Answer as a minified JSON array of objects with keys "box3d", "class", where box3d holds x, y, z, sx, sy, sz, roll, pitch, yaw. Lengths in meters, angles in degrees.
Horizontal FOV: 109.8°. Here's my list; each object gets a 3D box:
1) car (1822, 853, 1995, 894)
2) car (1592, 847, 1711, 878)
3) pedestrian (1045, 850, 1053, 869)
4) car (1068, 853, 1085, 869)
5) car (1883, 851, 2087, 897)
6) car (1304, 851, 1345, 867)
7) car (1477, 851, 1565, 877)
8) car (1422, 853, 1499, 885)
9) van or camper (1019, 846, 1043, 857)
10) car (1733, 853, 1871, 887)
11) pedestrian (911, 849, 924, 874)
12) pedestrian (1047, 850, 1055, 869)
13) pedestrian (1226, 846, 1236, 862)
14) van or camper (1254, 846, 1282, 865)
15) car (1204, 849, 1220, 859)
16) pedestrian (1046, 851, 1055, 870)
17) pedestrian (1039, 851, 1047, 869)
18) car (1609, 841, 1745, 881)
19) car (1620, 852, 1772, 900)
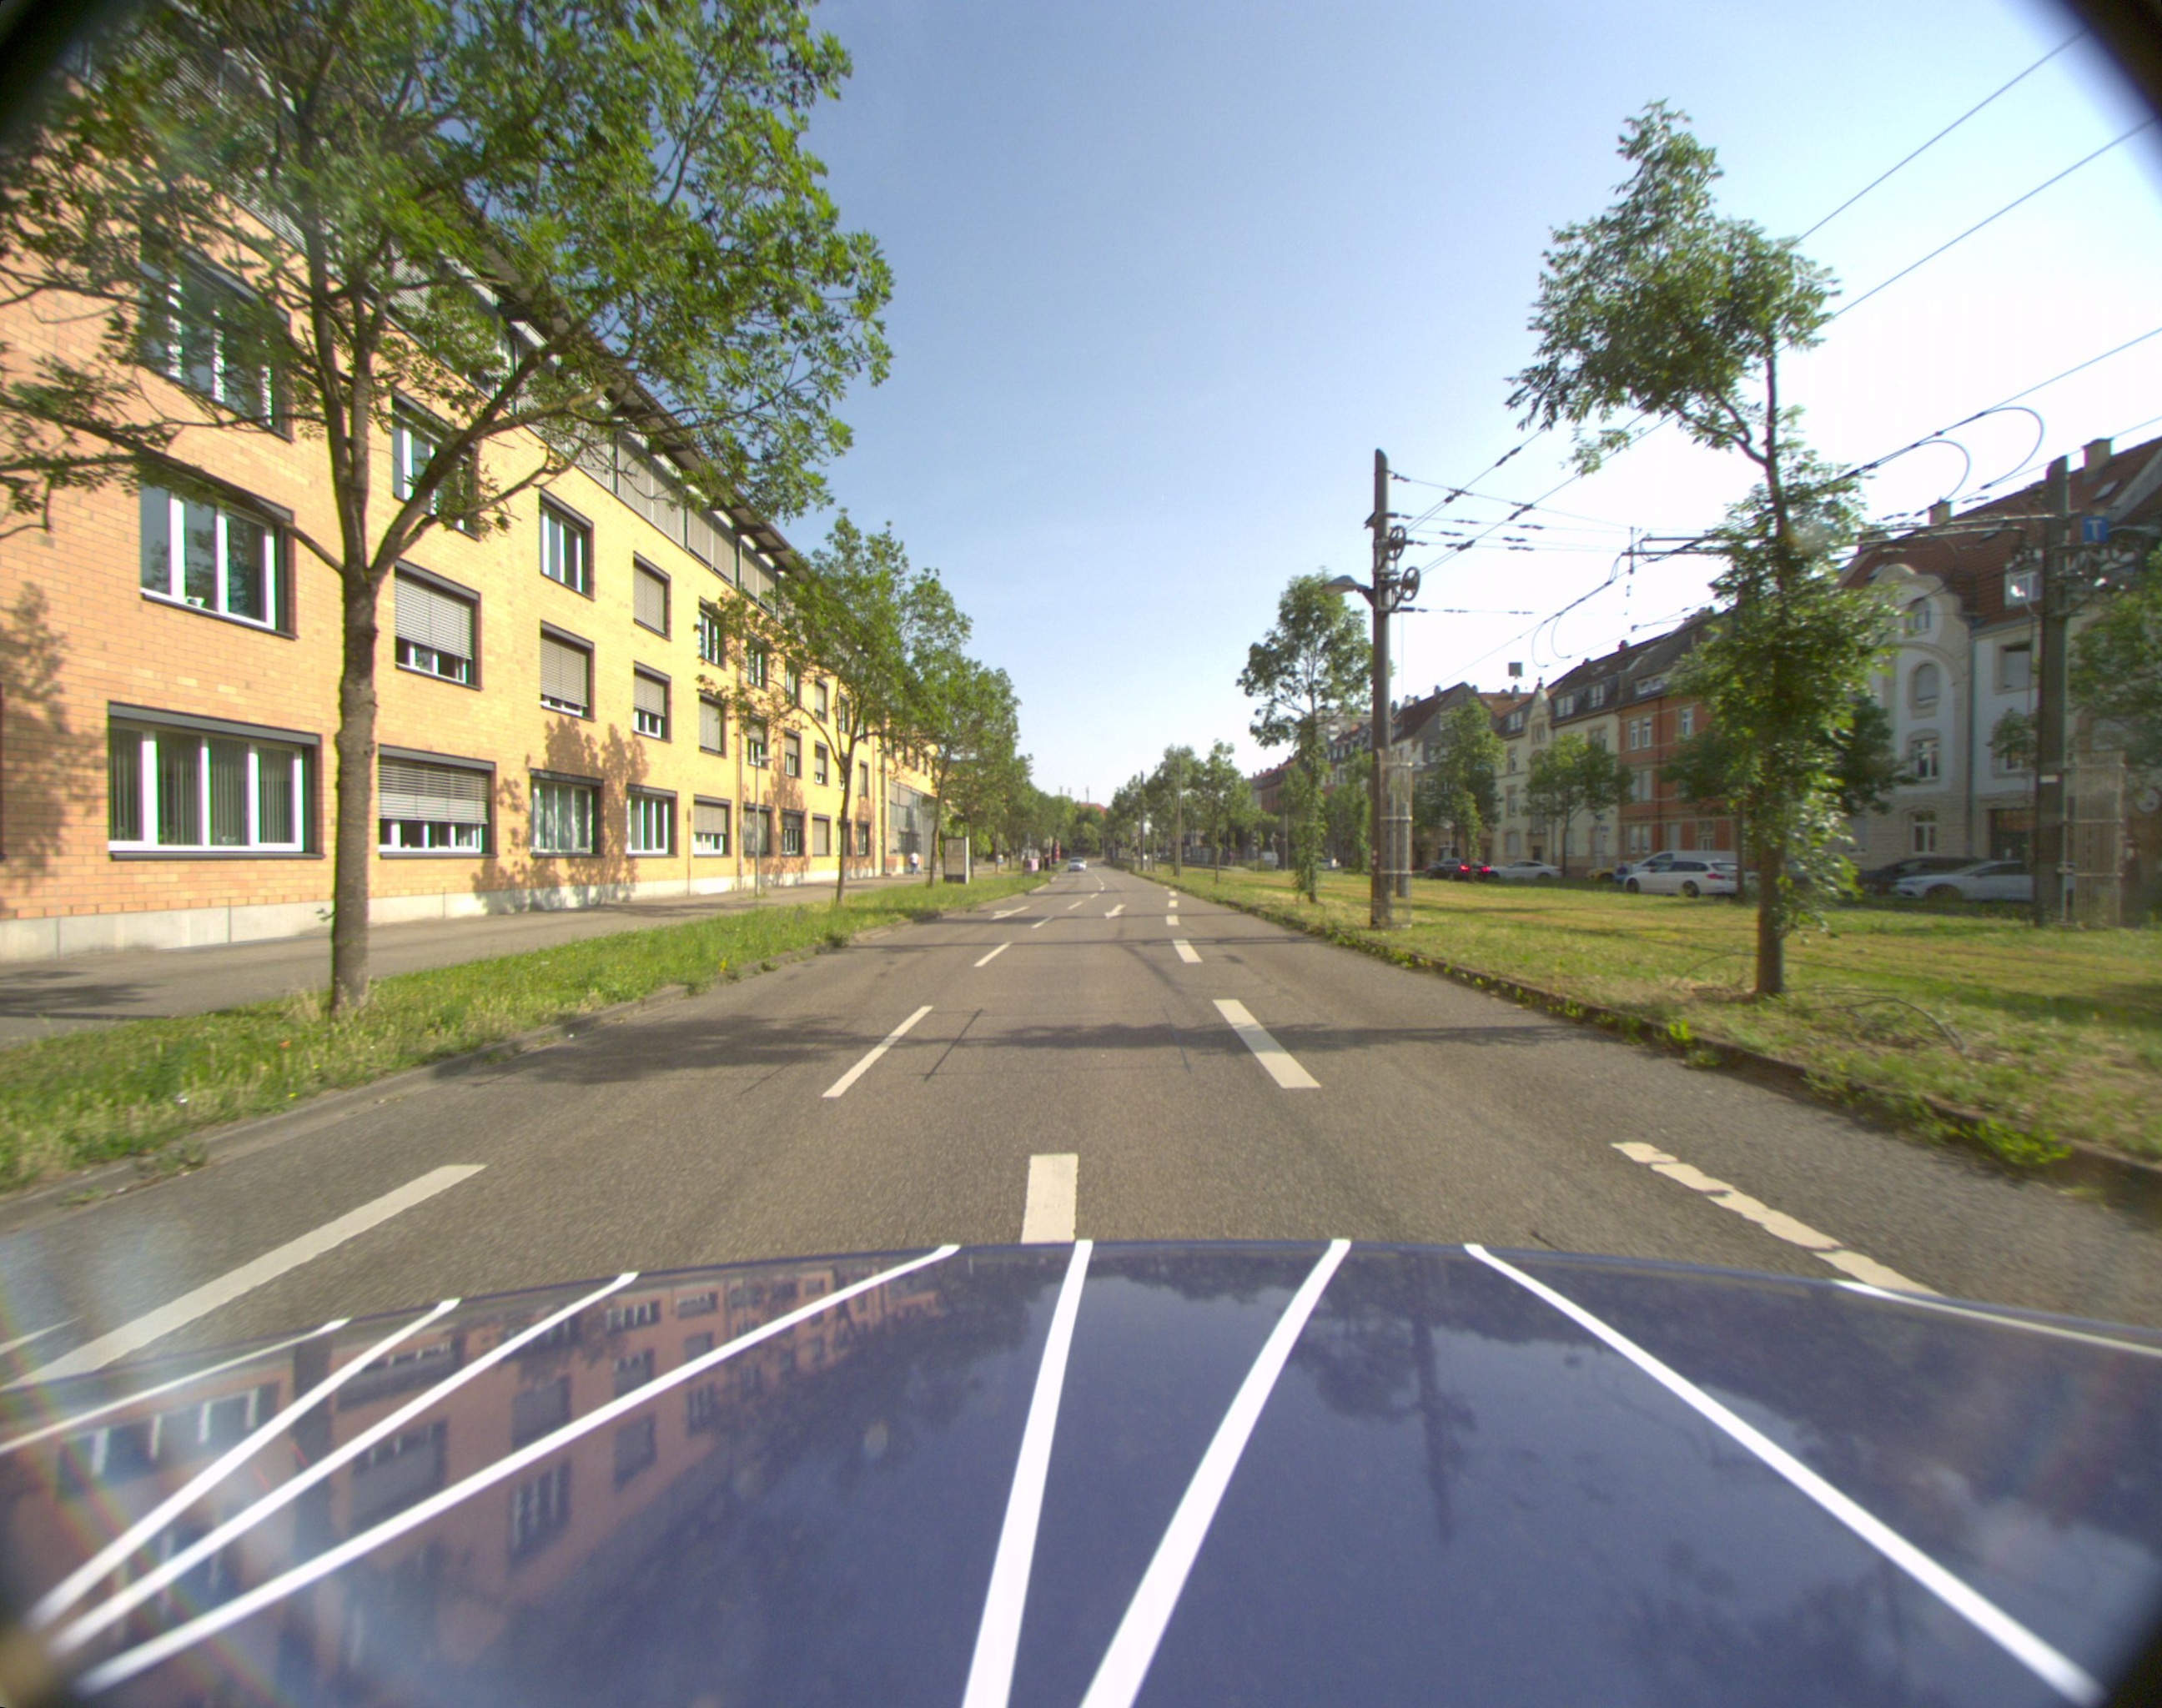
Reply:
[{"box3d":[27.952,0.660,25.827,3.677,1.234,1.665,-2,2,34],"class":"car"},{"box3d":[28.787,0.435,38.529,4.687,1.341,1.860,-2,1,34],"class":"car"},{"box3d":[-2.775,0.518,66.273,0.636,1.637,0.608,1,1,-4],"class":"pedestrian"},{"box3d":[-0.472,0.679,76.355,1.629,1.476,3.365,-3,1,-2],"class":"car"},{"box3d":[27.336,0.606,23.159,3.677,1.234,1.665,-2,1,34],"class":"car"},{"box3d":[27.860,0.589,86.988,3.989,1.716,2.003,-2,1,34],"class":"car"},{"box3d":[28.254,0.648,48.814,4.765,1.477,2.026,-2,1,32],"class":"car"},{"box3d":[22.748,0.830,45.764,1.998,1.621,5.379,-3,1,1],"class":"car"},{"box3d":[-12.836,-0.676,194.903,5.801,2.678,2.407,-2,1,-3],"class":"van or camper"},{"box3d":[27.882,0.633,29.535,3.677,1.234,1.529,-2,-1,34],"class":"car"},{"box3d":[-11.216,0.515,52.106,0.697,1.647,0.773,1,1,0],"class":"pedestrian"},{"box3d":[-2.667,0.497,67.226,0.707,1.637,0.689,1,1,-2],"class":"pedestrian"},{"box3d":[16.079,-0.004,81.452,0.886,1.645,0.852,0,1,-4],"class":"pedestrian"},{"box3d":[22.797,0.167,92.803,1.956,2.085,5.351,-3,1,-1],"class":"van or camper"},{"box3d":[21.785,-0.043,126.745,1.839,1.524,4.576,-1,1,0],"class":"car"},{"box3d":[-2.593,0.531,65.002,0.707,1.637,0.689,1,1,-2],"class":"pedestrian"},{"box3d":[-3.387,0.520,67.878,0.707,1.637,0.689,1,1,-2],"class":"pedestrian"},{"box3d":[28.168,0.346,36.148,4.939,1.716,1.860,-2,1,34],"class":"car"},{"box3d":[22.620,0.749,28.230,1.952,1.451,4.648,-3,1,2],"class":"car"}]
